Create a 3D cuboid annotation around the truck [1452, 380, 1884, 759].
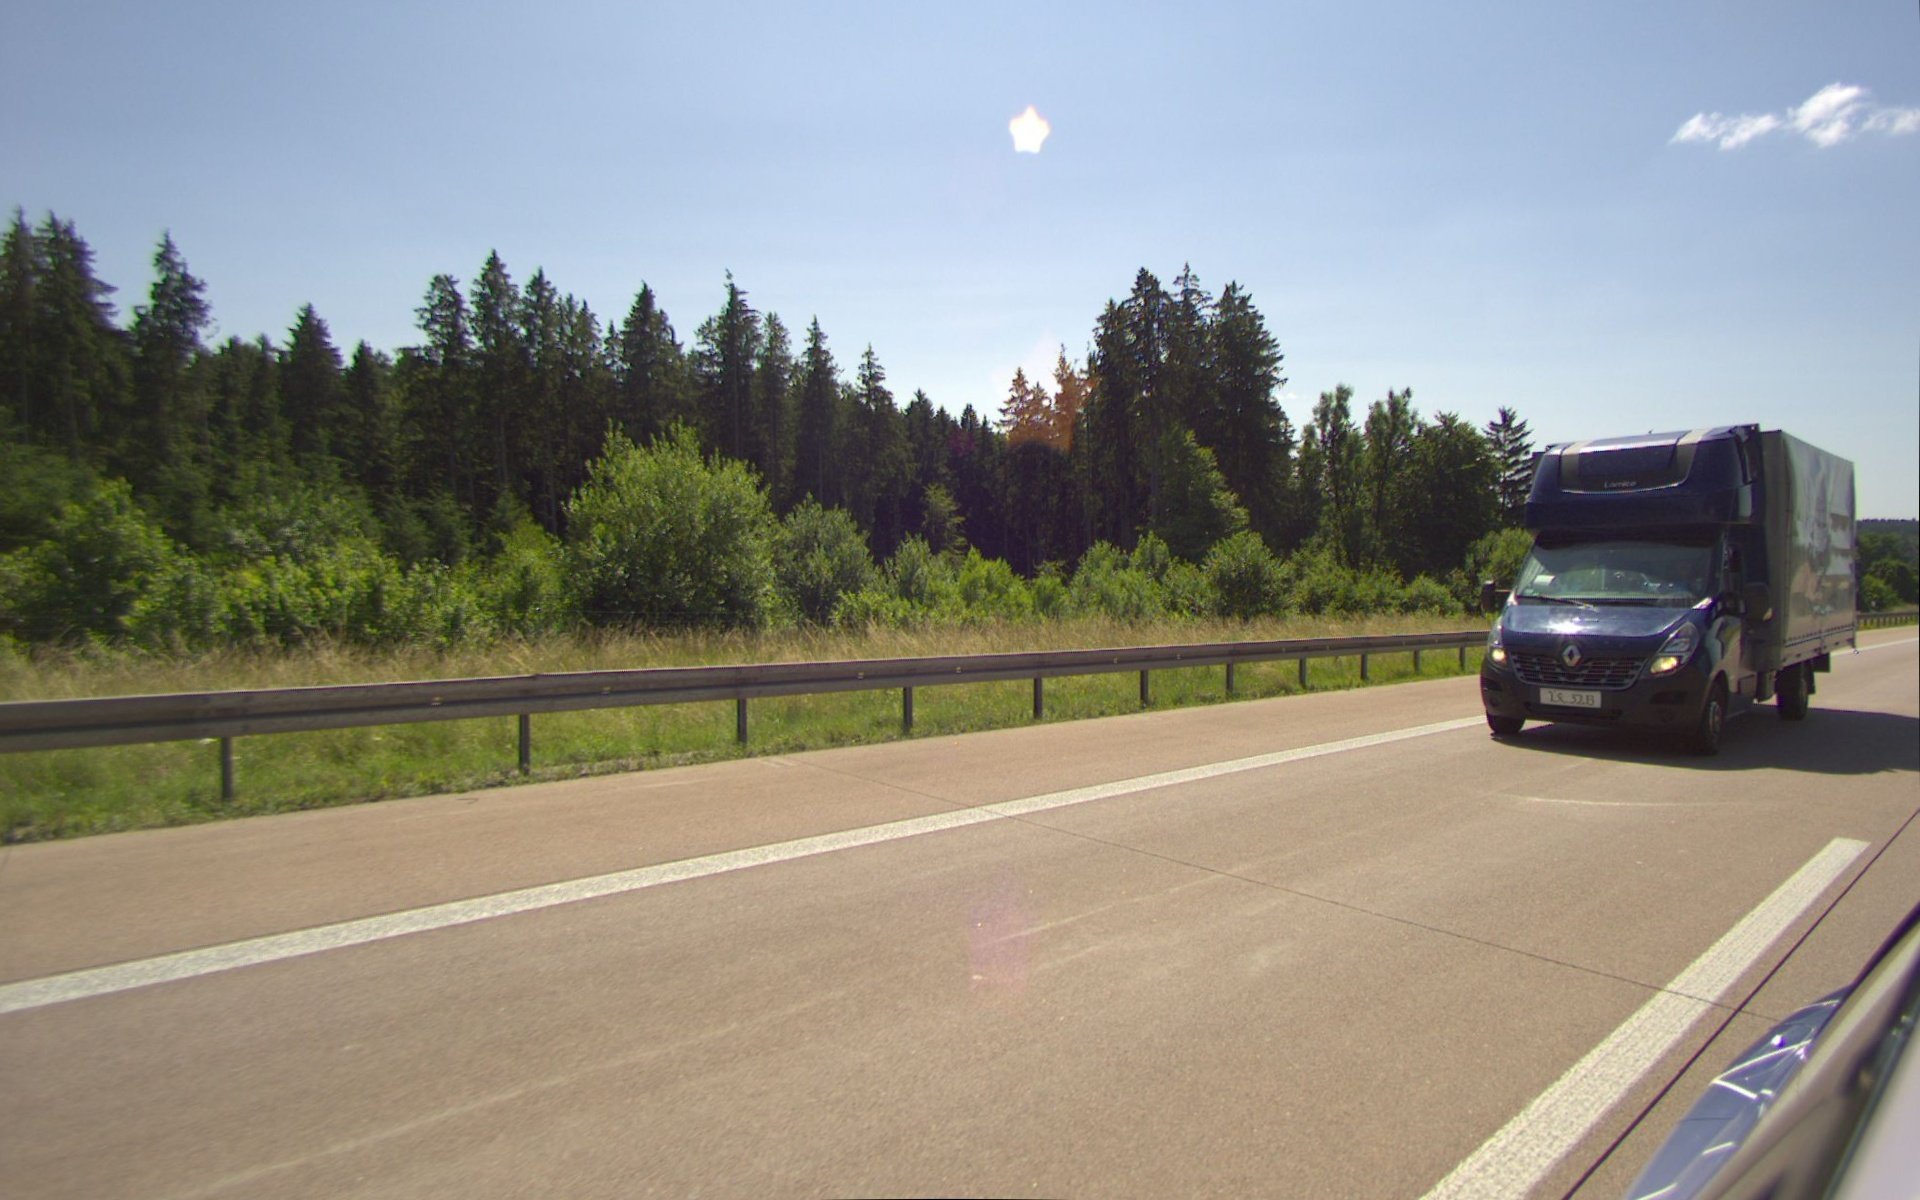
[{"bbox_3d":[8.848,-0.297,12.172,7.649,3.259,2.506,0,1,-41],"label":"truck"}]
